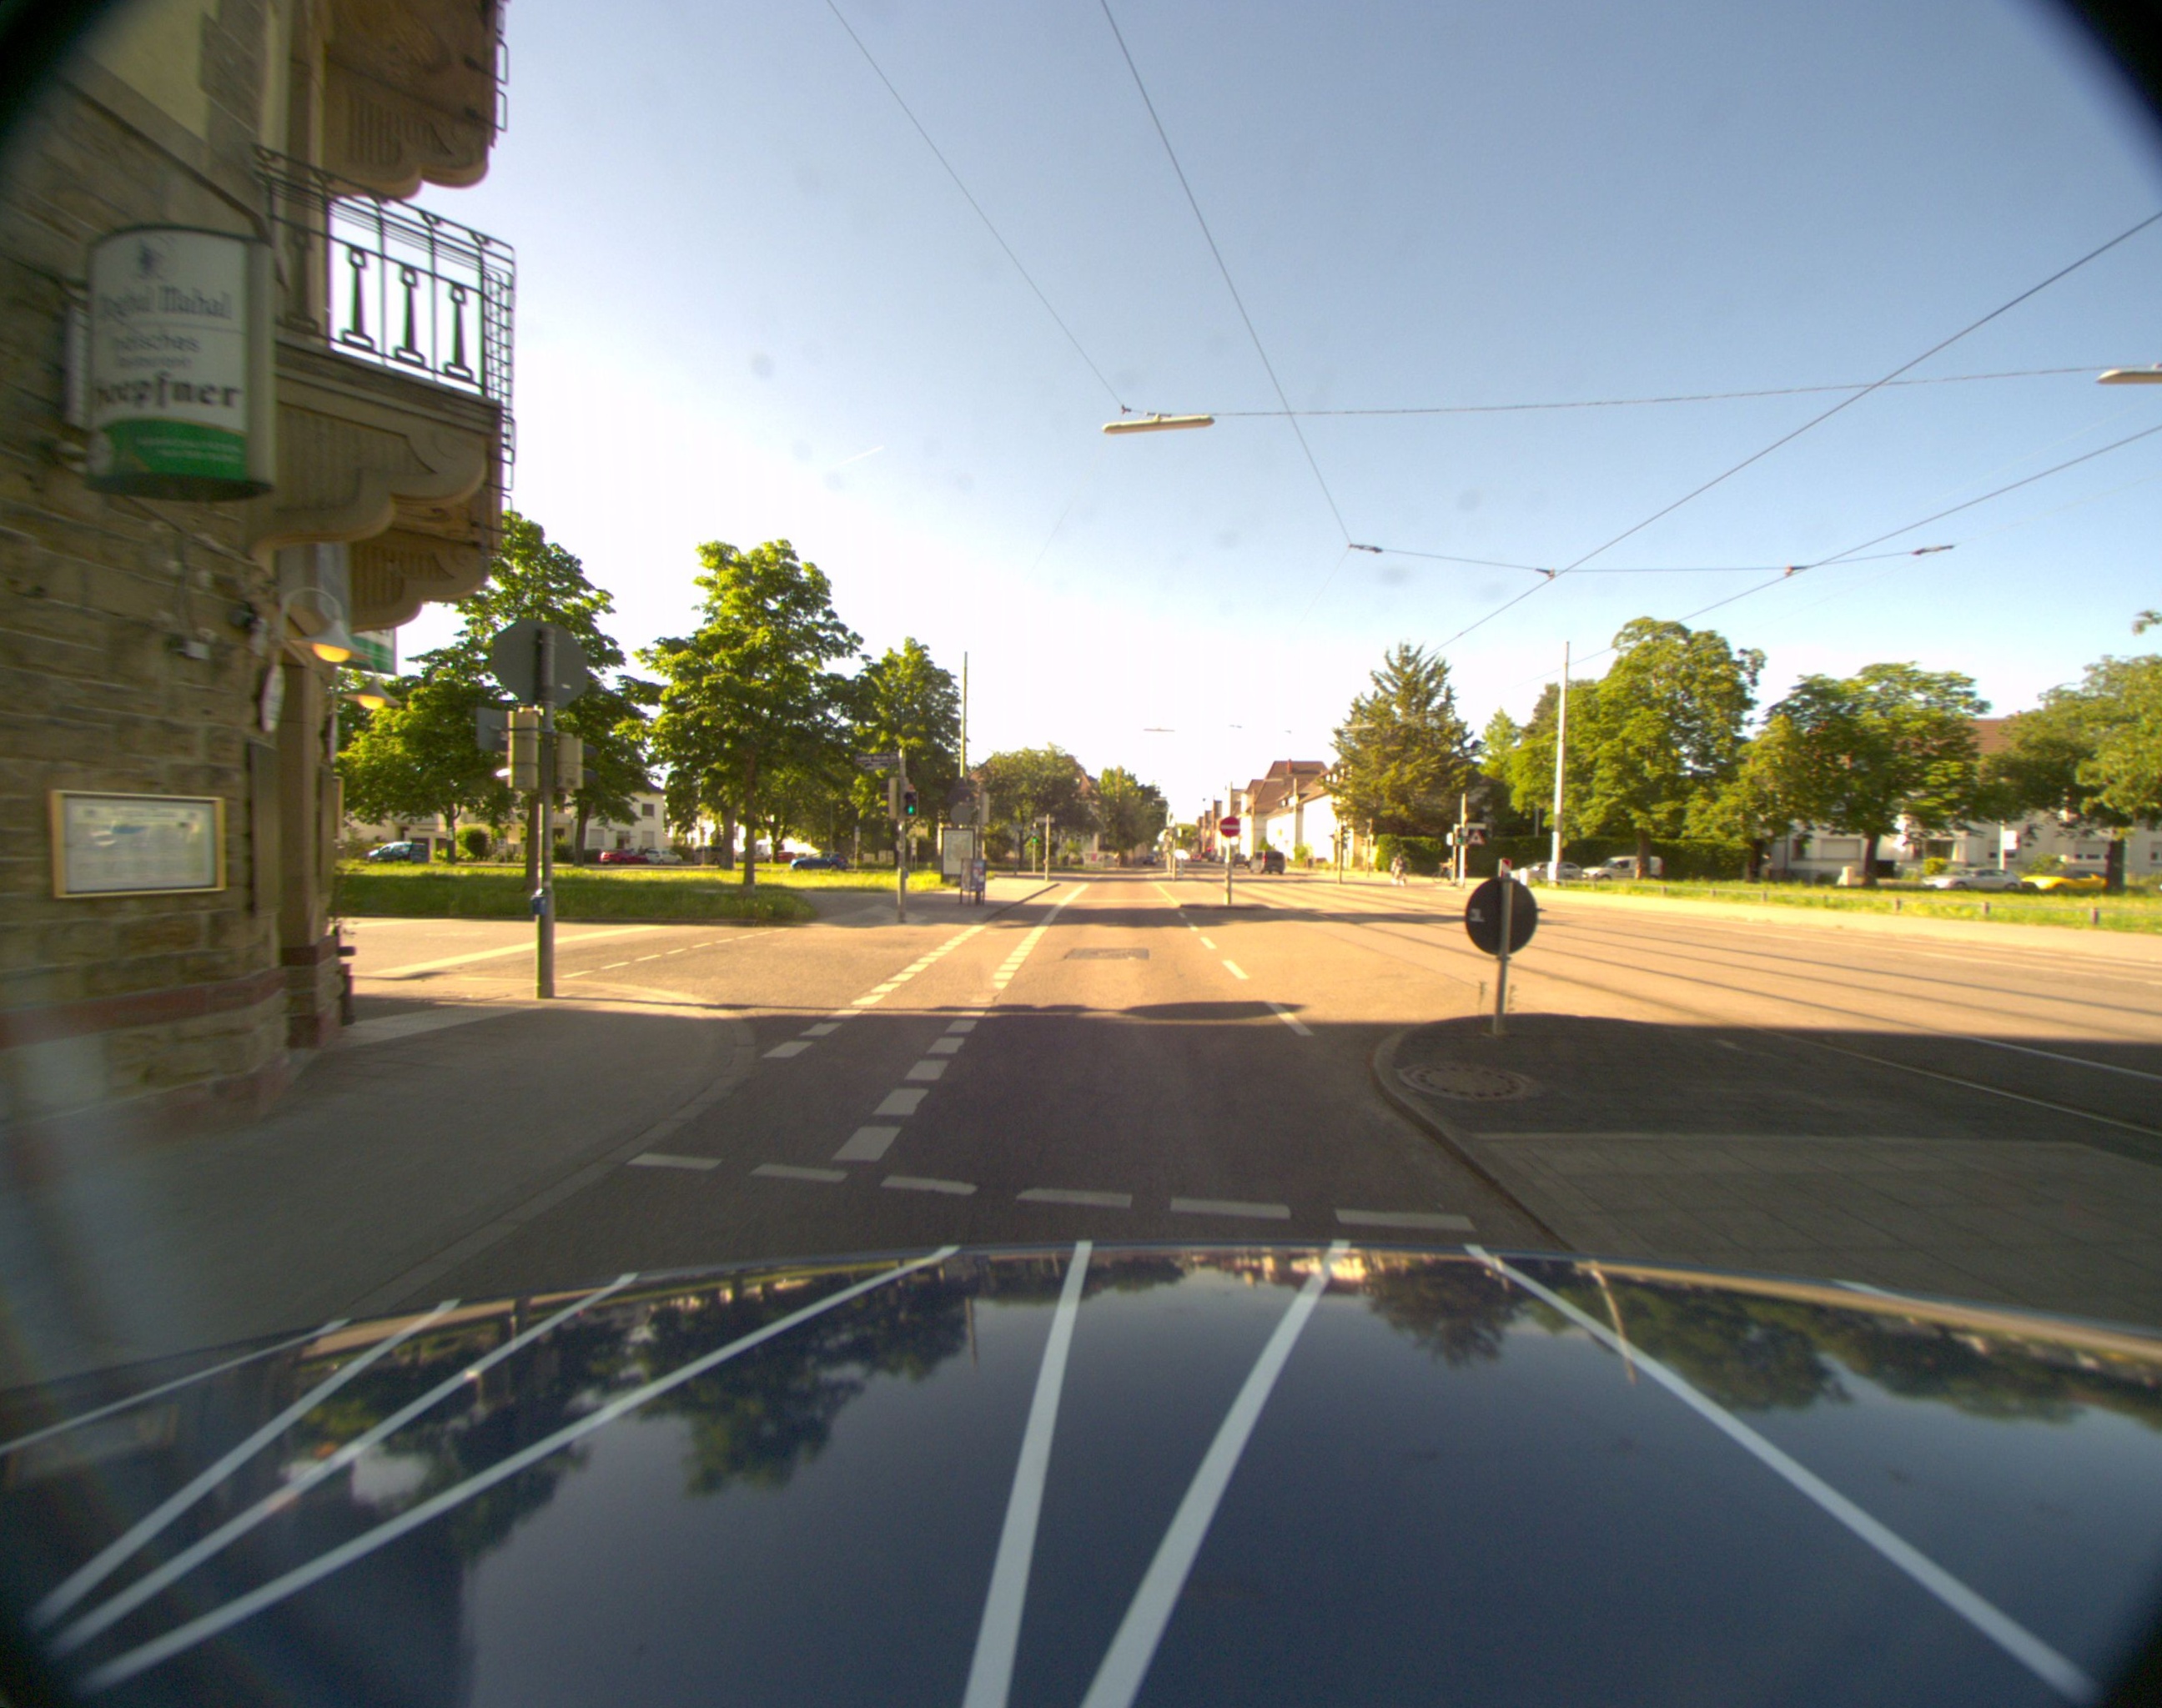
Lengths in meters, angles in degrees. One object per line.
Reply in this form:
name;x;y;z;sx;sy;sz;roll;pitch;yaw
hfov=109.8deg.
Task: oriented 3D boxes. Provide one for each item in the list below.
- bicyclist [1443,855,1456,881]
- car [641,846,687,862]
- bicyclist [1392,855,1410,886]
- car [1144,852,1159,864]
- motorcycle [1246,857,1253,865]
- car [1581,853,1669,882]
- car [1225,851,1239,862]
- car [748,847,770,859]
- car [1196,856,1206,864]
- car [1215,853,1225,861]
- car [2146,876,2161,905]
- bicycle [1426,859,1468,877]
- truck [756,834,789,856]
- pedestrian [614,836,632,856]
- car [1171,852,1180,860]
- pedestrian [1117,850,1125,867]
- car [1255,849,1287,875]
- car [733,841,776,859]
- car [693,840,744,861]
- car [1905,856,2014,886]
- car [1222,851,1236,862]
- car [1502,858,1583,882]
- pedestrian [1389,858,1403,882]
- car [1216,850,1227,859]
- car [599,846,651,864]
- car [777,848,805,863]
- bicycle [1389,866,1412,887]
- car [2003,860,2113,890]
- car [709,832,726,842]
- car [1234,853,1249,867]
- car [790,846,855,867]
bicyclist;23.901;0.902;49.263;0.558;1.613;0.899;1;1;14
car;-38.958;0.016;71.137;1.756;1.462;3.899;1;0;8
bicyclist;17.752;0.923;42.139;0.588;1.701;0.901;2;1;4
car;10.178;0.560;109.136;1.703;1.541;4.003;-1;0;11
motorcycle;21.206;0.896;95.582;0.605;1.040;2.439;-1;0;8
car;35.502;0.871;49.715;4.309;1.856;1.817;0;1;9
car;24.791;0.407;125.114;1.923;1.705;4.002;-1;0;7
car;-40.270;-0.185;95.055;1.762;1.462;3.886;0;0;-34
car;25.325;1.214;160.793;1.922;1.705;4.003;-1;0;10
car;29.357;0.630;160.653;1.923;1.705;4.002;-2;0;8
car;66.336;2.226;44.850;3.881;1.732;1.818;1;0;9
bicycle;23.746;0.925;49.305;2.283;1.111;0.931;1;1;14
truck;-37.084;-1.026;91.217;2.004;2.561;4.965;0;1;-43
pedestrian;-42.796;-0.748;70.998;1.024;1.759;0.900;-1;0;8
car;21.261;0.405;171.068;1.922;1.705;4.003;-1;0;9
pedestrian;3.892;0.427;74.659;0.654;1.664;0.944;2;1;9
car;15.898;0.688;63.795;2.023;2.001;5.255;2;-1;9
car;-31.650;-0.403;73.710;1.919;1.638;3.717;1;0;16
car;-32.550;-0.290;68.316;1.920;1.825;4.345;1;0;11
car;54.132;1.033;46.886;4.195;1.732;1.818;1;0;9
car;25.544;0.418;131.223;1.923;1.705;4.002;-1;0;7
car;29.075;0.986;48.023;3.993;1.425;1.818;1;0;12
pedestrian;21.209;1.063;51.090;0.680;1.548;0.622;-2;1;-42
car;27.002;0.116;146.109;1.922;1.555;4.003;-1;0;10
car;-39.529;0.097;65.972;1.756;1.462;3.899;1;0;8
car;-30.649;0.191;80.436;1.607;1.525;4.281;1;-1;-5
bicycle;17.744;1.230;42.201;0.588;1.107;1.827;2;0;4
car;58.997;1.255;45.963;3.881;1.732;1.818;1;1;9
car;-58.918;-2.720;123.055;1.763;1.462;3.885;0;0;-37
car;23.317;0.836;110.402;1.922;1.890;4.003;-1;0;9
car;-18.511;0.189;54.590;3.995;1.425;1.817;1;0;4
